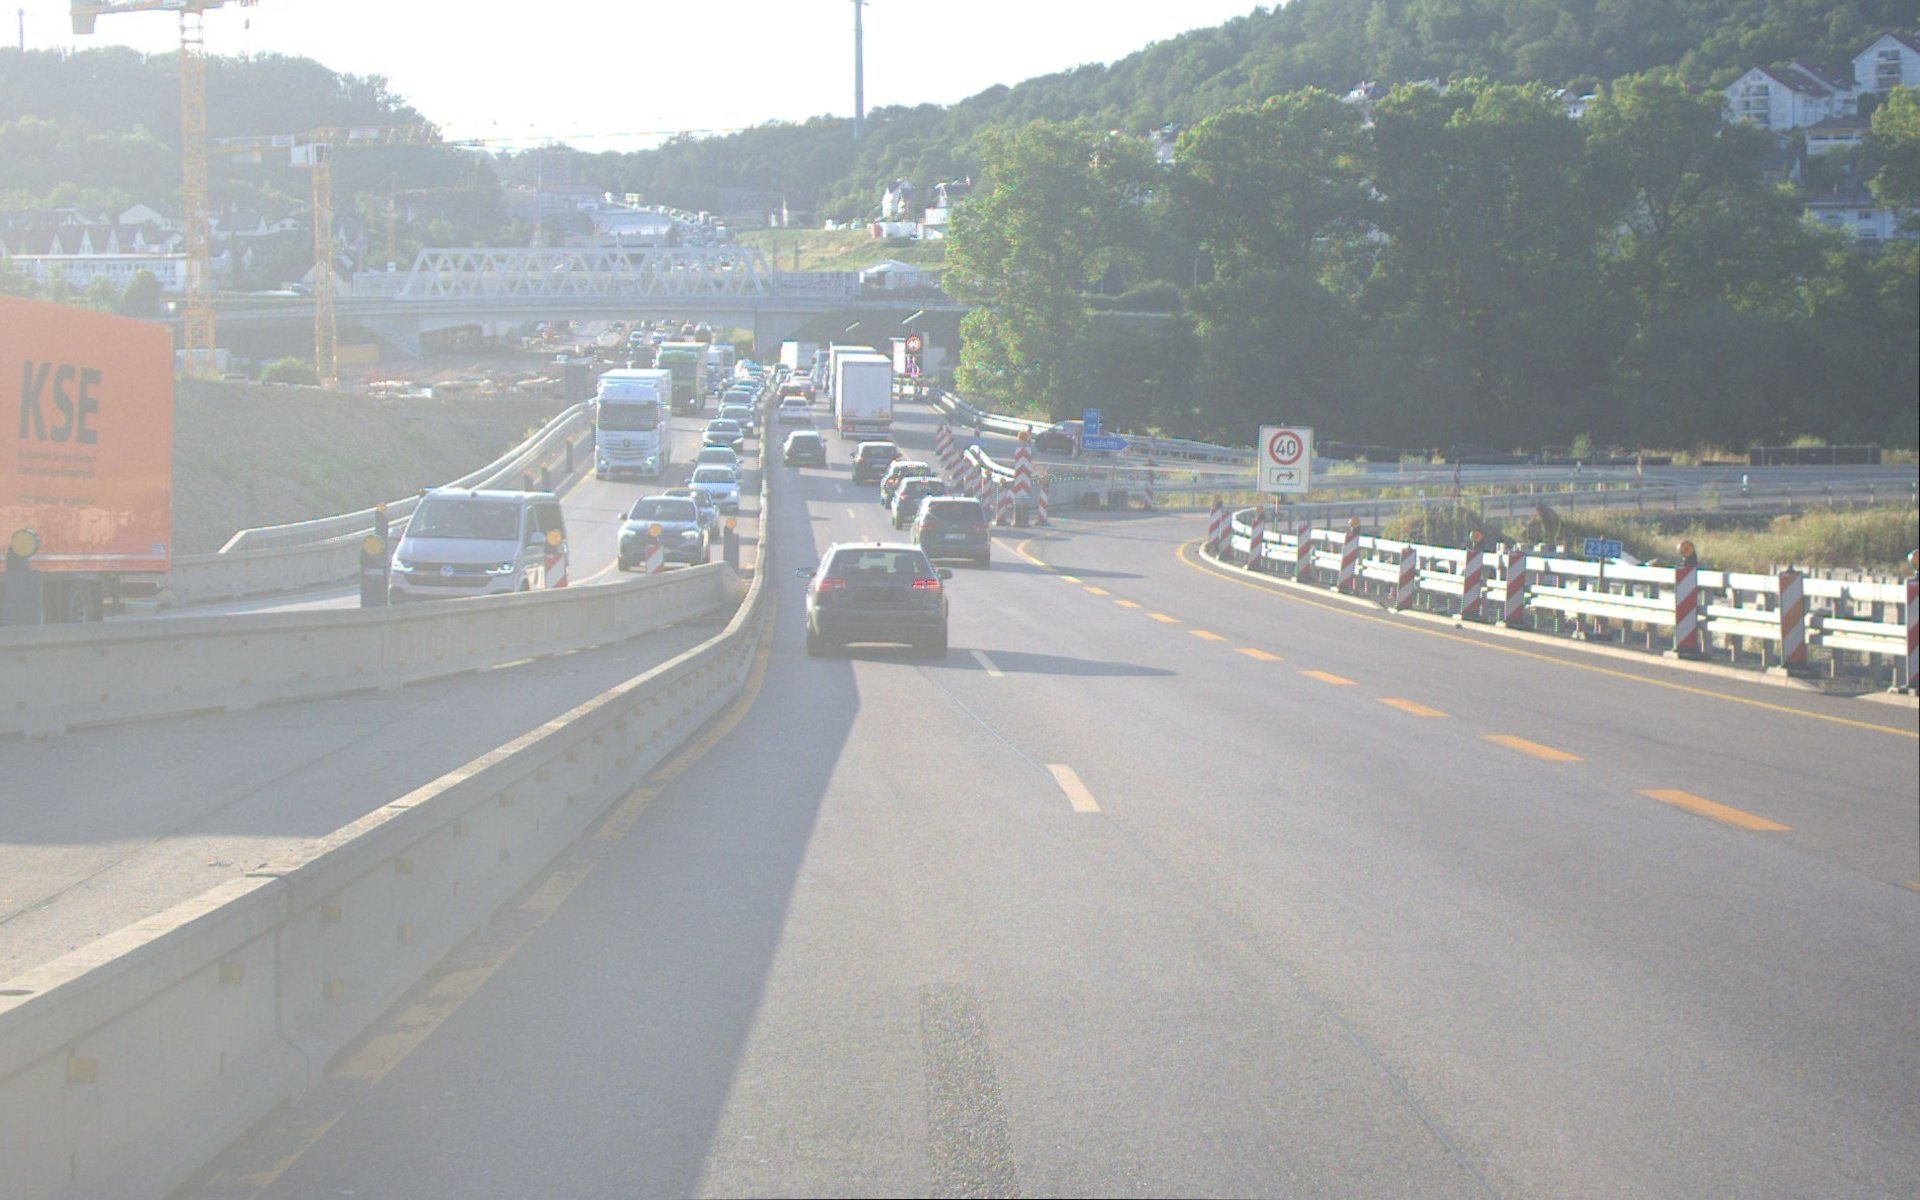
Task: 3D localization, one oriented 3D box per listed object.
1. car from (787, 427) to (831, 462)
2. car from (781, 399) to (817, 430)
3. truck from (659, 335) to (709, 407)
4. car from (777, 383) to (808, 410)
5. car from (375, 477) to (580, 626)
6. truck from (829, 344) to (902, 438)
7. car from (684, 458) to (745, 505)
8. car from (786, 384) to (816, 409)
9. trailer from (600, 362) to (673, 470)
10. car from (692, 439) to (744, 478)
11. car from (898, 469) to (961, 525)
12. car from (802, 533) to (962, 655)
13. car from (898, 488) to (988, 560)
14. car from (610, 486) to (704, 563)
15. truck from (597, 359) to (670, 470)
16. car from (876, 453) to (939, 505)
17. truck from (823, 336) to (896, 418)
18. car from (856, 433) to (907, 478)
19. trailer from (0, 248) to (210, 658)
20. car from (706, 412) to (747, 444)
[{"bbox_3d":[-6.575,-6.772,149.739,1.863,1.415,4.001,1,3,-2],"label":"car"},{"bbox_3d":[-8.942,-10.296,191.014,1.923,1.546,4.001,1,1,-2],"label":"car"},{"bbox_3d":[-16.129,-13.402,200.919,2.769,4.066,5.778,1,4,-4],"label":"truck"},{"bbox_3d":[-10.517,-12.775,215.955,1.923,1.546,4.001,1,3,-2],"label":"car"},{"bbox_3d":[-7.033,-0.733,50.639,1.994,2.007,5.257,2,1,3],"label":"car"},{"bbox_3d":[-4.982,-10.937,178.080,3.385,4.482,15.272,2,4,-3],"label":"truck"},{"bbox_3d":[-8.134,-3.921,114.075,1.788,1.483,4.220,2,2,-2],"label":"car"},{"bbox_3d":[-10.764,-13.786,232.886,1.923,1.546,4.001,1,3,-2],"label":"car"},{"bbox_3d":[-13.495,-7.646,144.210,2.530,4.198,13.938,2,2,-4],"label":"trailer"},{"bbox_3d":[-9.275,-5.433,132.072,1.850,1.478,4.512,0,2,-2],"label":"car"},{"bbox_3d":[-0.955,-3.123,104.828,1.774,1.580,4.135,2,1,-2],"label":"car"},{"bbox_3d":[-1.036,-0.108,43.606,1.769,1.385,4.001,1,2,-5],"label":"car"},{"bbox_3d":[-0.436,-1.812,82.141,1.812,1.609,4.527,2,1,-4],"label":"car"},{"bbox_3d":[-6.742,-1.710,76.845,1.788,1.614,4.874,2,2,-2],"label":"car"},{"bbox_3d":[-13.012,-7.380,137.375,2.552,4.206,6.052,2,2,-3],"label":"truck"},{"bbox_3d":[-1.831,-4.183,118.410,1.875,1.593,4.967,1,4,-4],"label":"car"},{"bbox_3d":[-6.160,-13.585,208.399,3.890,4.481,15.273,2,5,-3],"label":"truck"},{"bbox_3d":[-3.105,-5.709,135.525,1.814,1.626,4.413,1,4,-4],"label":"car"},{"bbox_3d":[-11.803,-1.626,36.923,2.584,4.456,14.132,2,1,7],"label":"trailer"},{"bbox_3d":[-10.888,-8.048,160.516,1.836,1.404,4.496,1,3,-3],"label":"car"}]
